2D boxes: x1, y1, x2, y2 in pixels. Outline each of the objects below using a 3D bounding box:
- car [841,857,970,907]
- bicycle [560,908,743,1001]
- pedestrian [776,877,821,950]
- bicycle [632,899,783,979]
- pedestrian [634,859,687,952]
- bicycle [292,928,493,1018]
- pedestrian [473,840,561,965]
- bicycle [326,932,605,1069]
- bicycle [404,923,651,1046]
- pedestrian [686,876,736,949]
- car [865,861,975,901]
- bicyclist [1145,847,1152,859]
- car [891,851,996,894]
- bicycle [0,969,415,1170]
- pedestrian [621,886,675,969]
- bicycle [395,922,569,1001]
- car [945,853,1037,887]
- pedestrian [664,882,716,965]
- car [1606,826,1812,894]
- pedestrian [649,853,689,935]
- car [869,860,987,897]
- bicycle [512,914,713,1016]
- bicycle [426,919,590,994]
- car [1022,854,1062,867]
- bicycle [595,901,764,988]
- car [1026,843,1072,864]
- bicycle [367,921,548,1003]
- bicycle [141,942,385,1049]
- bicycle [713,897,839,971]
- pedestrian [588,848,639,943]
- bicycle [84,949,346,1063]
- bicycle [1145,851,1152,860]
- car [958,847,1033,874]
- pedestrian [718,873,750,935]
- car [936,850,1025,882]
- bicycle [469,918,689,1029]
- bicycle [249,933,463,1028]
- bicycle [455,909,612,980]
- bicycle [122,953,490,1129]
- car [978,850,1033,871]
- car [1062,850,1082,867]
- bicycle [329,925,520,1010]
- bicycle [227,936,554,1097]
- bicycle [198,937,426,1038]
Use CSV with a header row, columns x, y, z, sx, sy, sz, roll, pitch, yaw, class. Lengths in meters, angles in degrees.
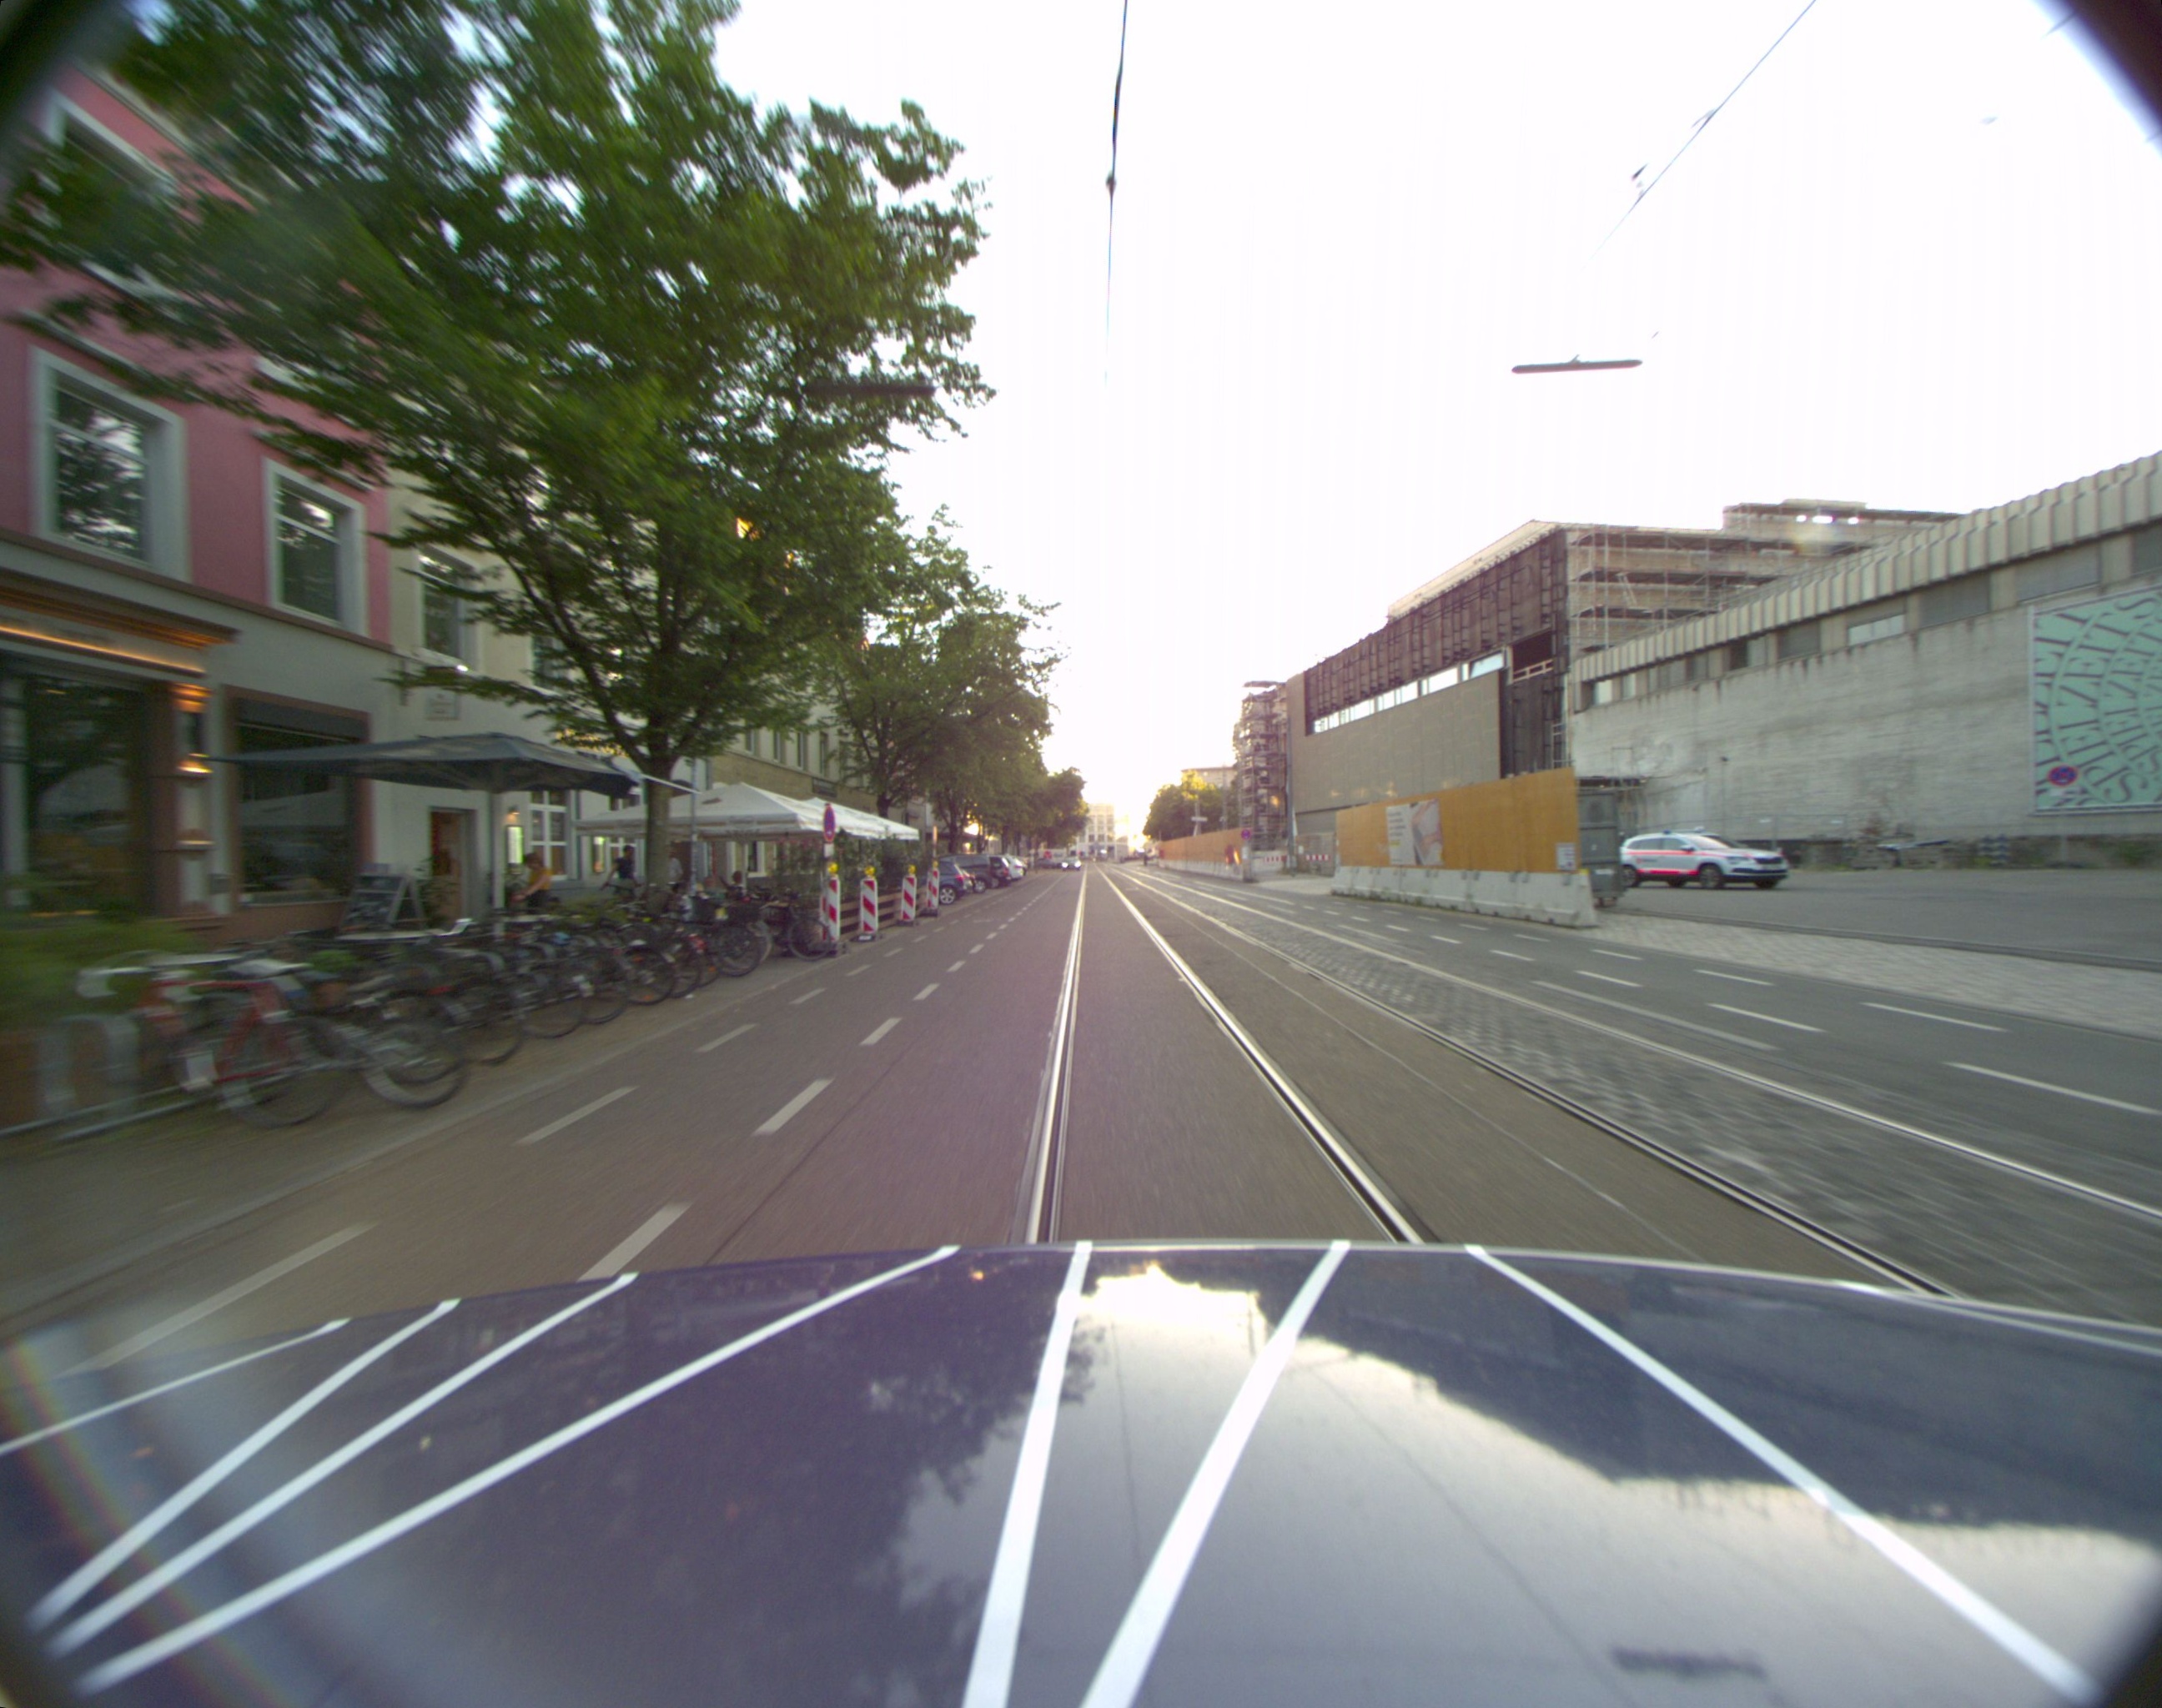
x,y,z,sx,sy,sz,roll,pitch,yaw,class
-5.917,0.898,25.593,3.979,1.544,1.702,0,0,-25,car
-5.298,1.228,9.430,1.891,1.025,0.608,2,0,-1,bicycle
-5.210,1.083,14.031,0.503,1.285,0.600,-2,1,6,pedestrian
-5.296,1.198,10.823,1.820,1.025,0.608,2,0,-1,bicycle
-8.257,0.997,14.943,0.552,1.753,0.715,-2,1,1,pedestrian
-7.359,1.267,8.149,1.820,0.867,0.325,2,1,-1,bicycle
-8.317,0.687,11.243,0.552,1.753,0.894,-2,1,0,pedestrian
-5.298,1.246,6.609,1.891,1.025,0.608,2,0,-1,bicycle
-5.256,1.228,7.282,1.891,1.025,0.608,2,0,-1,bicycle
-6.818,1.075,14.019,0.599,1.285,0.504,-2,1,2,pedestrian
-6.035,0.983,28.445,3.788,1.399,1.703,0,0,-20,car
9.230,-0.185,104.071,0.770,1.656,1.018,-1,0,0,bicyclist
-6.111,0.791,33.844,4.167,1.796,2.003,0,0,-28,car
-5.267,1.281,4.629,1.908,1.025,0.533,2,1,-1,bicycle
-7.088,1.188,12.453,0.503,1.285,0.600,-2,1,-3,pedestrian
-7.320,1.311,9.312,1.820,0.867,0.325,-2,1,-1,bicycle
-4.708,0.825,40.088,4.662,1.678,2.007,1,0,-5,car
-6.392,1.124,12.438,0.503,1.285,0.600,-2,1,-4,pedestrian
17.528,0.151,21.533,2.000,1.654,4.277,-2,0,-7,car
-9.148,0.860,16.899,0.705,1.753,0.713,-2,1,-27,pedestrian
-6.177,0.970,30.846,4.331,1.381,1.802,1,0,-30,car
-5.317,1.250,8.689,1.891,1.025,0.608,2,0,-1,bicycle
-7.317,1.306,9.722,1.820,0.867,0.325,2,1,-1,bicycle
-4.805,0.784,94.567,4.614,1.504,1.859,1,-1,-25,car
-5.304,1.191,10.107,1.891,1.025,0.608,2,0,-1,bicycle
-4.226,-0.129,100.852,5.650,2.678,2.166,-1,0,-34,car
-7.319,1.262,8.942,1.820,0.867,0.325,2,1,-1,bicycle
-7.395,1.274,6.894,1.820,0.867,0.325,2,1,-1,bicycle
-4.657,1.214,11.653,1.683,1.025,0.557,2,1,-1,bicycle
-8.979,0.774,14.617,0.553,1.753,0.851,-2,1,-16,pedestrian
-7.379,1.288,6.500,1.820,0.867,0.325,2,1,-1,bicycle
9.238,0.262,104.235,0.770,1.221,1.936,-1,0,0,bicycle
-6.125,0.471,54.234,4.984,1.816,2.204,0,0,-17,car
-7.528,1.067,16.481,0.553,1.298,0.713,-2,1,-27,pedestrian
-5.584,0.679,42.613,4.660,1.678,2.008,1,0,0,car
-5.280,1.244,8.054,1.891,1.025,0.608,2,0,-1,bicycle
-7.365,1.281,7.743,1.820,0.867,0.325,2,1,-1,bicycle
-7.450,1.226,10.370,1.820,0.867,0.387,-2,1,-1,bicycle
-5.256,1.256,5.225,1.868,1.025,0.591,2,0,-2,bicycle
-6.398,0.568,64.394,4.176,1.654,1.837,2,0,-34,car
-0.894,0.442,80.069,1.840,1.631,4.169,-5,0,1,car
-7.349,1.267,8.532,1.820,0.867,0.325,2,1,-1,bicycle
-5.294,1.229,5.909,1.891,1.061,0.674,2,0,-1,bicycle
-7.386,1.276,7.322,1.820,0.867,0.325,2,1,-1,bicycle
